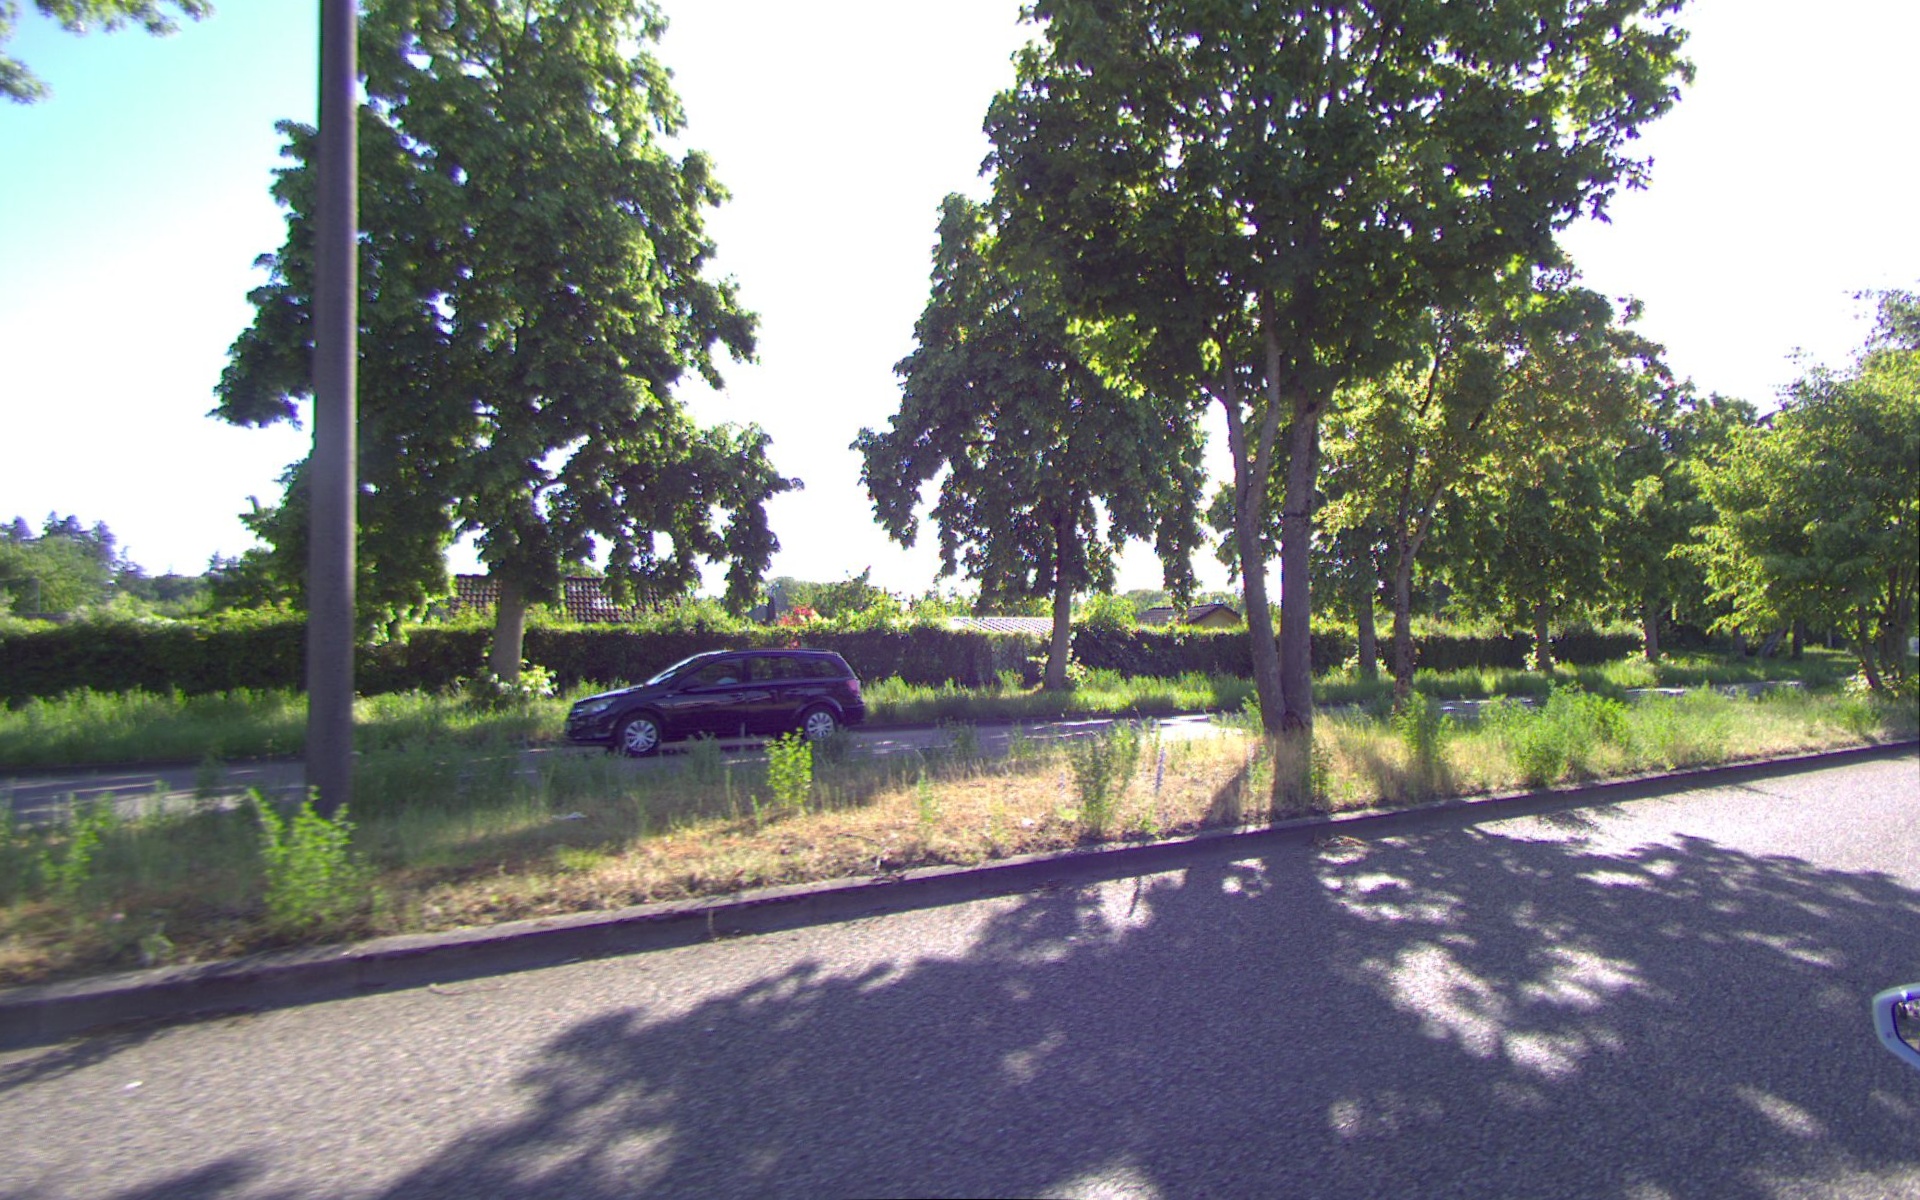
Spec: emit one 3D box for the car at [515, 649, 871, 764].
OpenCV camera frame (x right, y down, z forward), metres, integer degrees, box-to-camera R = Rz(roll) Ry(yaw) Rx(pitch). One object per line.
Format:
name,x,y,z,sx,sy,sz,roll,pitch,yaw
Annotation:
car,-3.900,1.499,15.019,4.883,1.455,1.685,1,-4,-31
